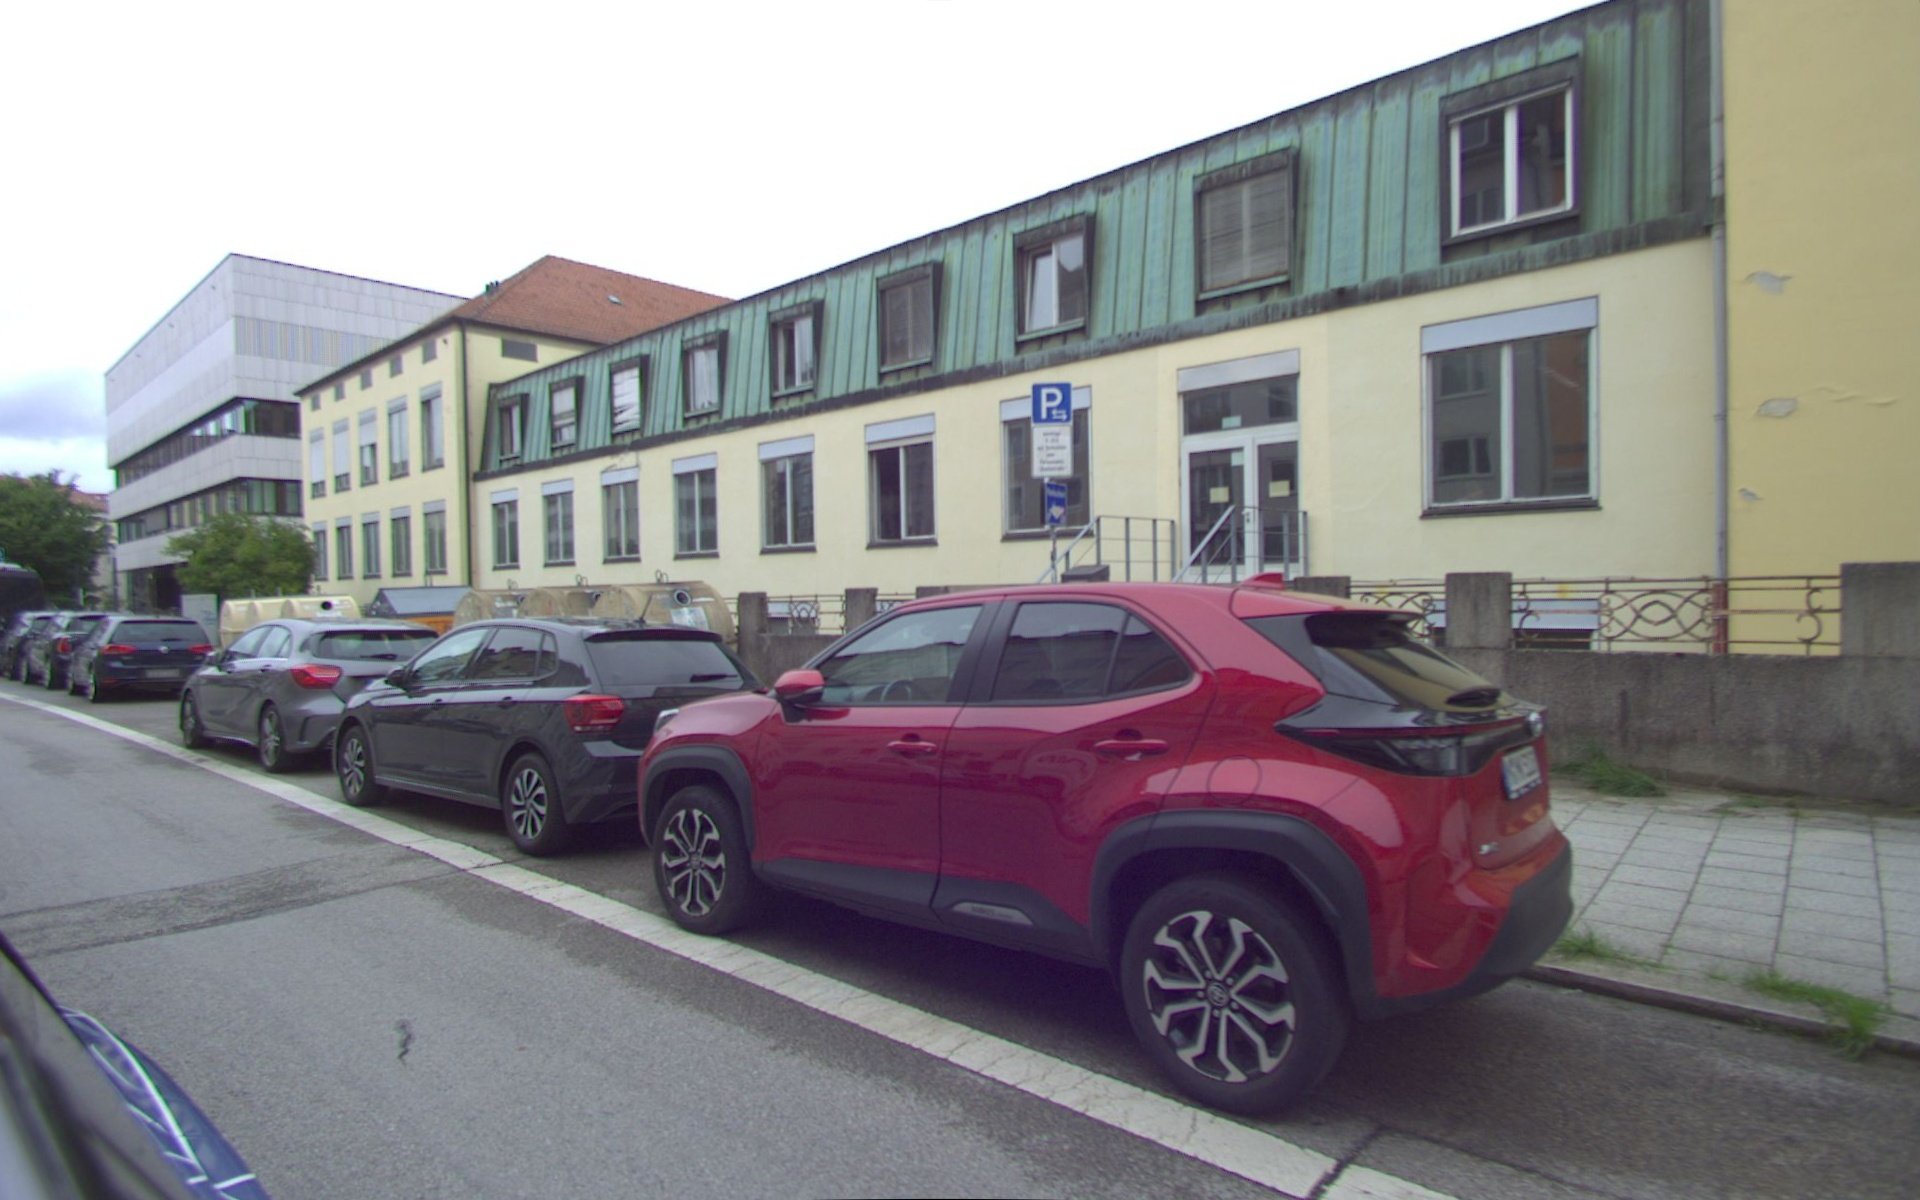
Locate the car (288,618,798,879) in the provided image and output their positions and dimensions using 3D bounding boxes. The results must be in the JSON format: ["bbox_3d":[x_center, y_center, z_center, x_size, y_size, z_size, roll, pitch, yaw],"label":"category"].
[{"bbox_3d":[-3.177,0.861,7.391,3.984,1.416,1.659,-1,-3,38],"label":"car"}]

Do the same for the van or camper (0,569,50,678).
[{"bbox_3d":[-27.160,0.652,27.689,5.558,2.829,2.117,-1,-1,34],"label":"van or camper"}]

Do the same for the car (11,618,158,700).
[{"bbox_3d":[-18.344,1.179,21.166,3.864,1.574,1.678,-1,-3,40],"label":"car"}]

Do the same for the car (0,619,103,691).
[{"bbox_3d":[-21.871,1.259,24.037,3.835,1.574,1.621,-1,-3,40],"label":"car"}]

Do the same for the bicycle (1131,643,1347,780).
[{"bbox_3d":[2.324,0.896,8.602,0.450,1.002,1.741,-4,2,-45],"label":"bicycle"}]

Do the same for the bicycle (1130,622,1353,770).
[{"bbox_3d":[2.463,0.800,9.067,0.419,1.181,1.939,-4,2,-45],"label":"bicycle"}]

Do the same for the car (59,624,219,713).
[{"bbox_3d":[-14.672,1.147,18.020,4.000,1.416,1.676,-1,-3,43],"label":"car"}]

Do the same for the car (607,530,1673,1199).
[{"bbox_3d":[0.411,0.690,4.144,3.993,1.578,1.658,-1,-3,40],"label":"car"}]

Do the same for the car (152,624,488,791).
[{"bbox_3d":[-6.827,0.976,10.642,4.124,1.416,1.775,-1,-3,40],"label":"car"}]
